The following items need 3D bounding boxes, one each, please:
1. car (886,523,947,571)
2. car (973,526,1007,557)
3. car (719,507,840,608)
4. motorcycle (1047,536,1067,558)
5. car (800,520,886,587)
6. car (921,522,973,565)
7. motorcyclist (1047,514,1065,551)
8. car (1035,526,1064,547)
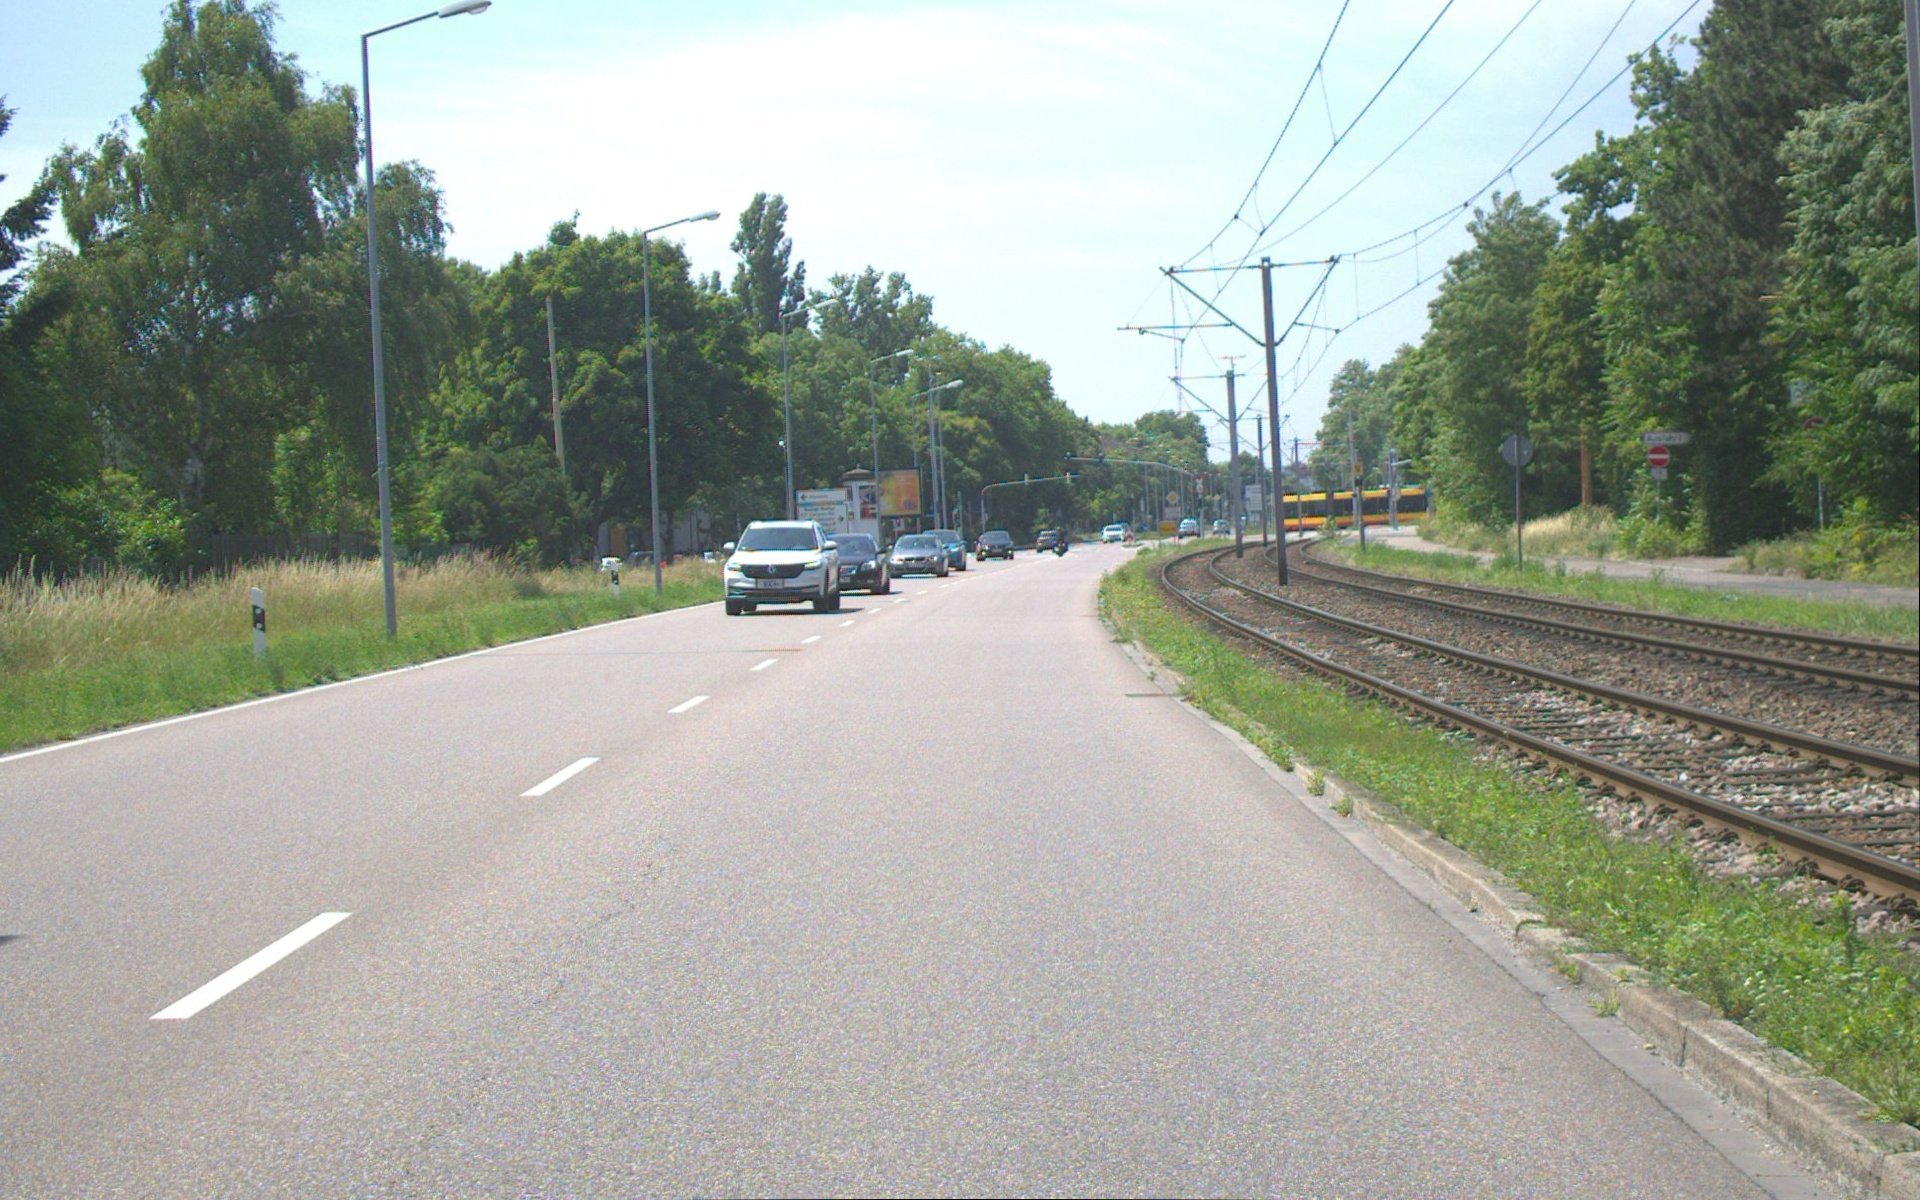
[{"bbox_3d":[-1.389,-1.732,112.159,1.817,1.488,4.363,-2,1,1],"label":"car"},{"bbox_3d":[1.527,-2.937,172.999,1.627,1.485,4.363,-2,1,1],"label":"car"},{"bbox_3d":[-3.399,-0.820,65.613,1.935,1.790,4.712,-2,1,1],"label":"car"},{"bbox_3d":[5.083,-2.785,179.568,0.970,1.113,2.732,-2,1,2],"label":"motorcycle"},{"bbox_3d":[-2.807,-1.137,83.014,1.817,1.523,4.363,-2,1,1],"label":"car"},{"bbox_3d":[-0.488,-2.109,129.002,1.817,1.532,4.363,-2,1,1],"label":"car"},{"bbox_3d":[4.999,-3.542,179.417,0.891,1.898,1.015,-2,1,2],"label":"motorcyclist"},{"bbox_3d":[6.042,-4.264,231.379,1.627,1.390,4.363,-2,1,5],"label":"car"}]
